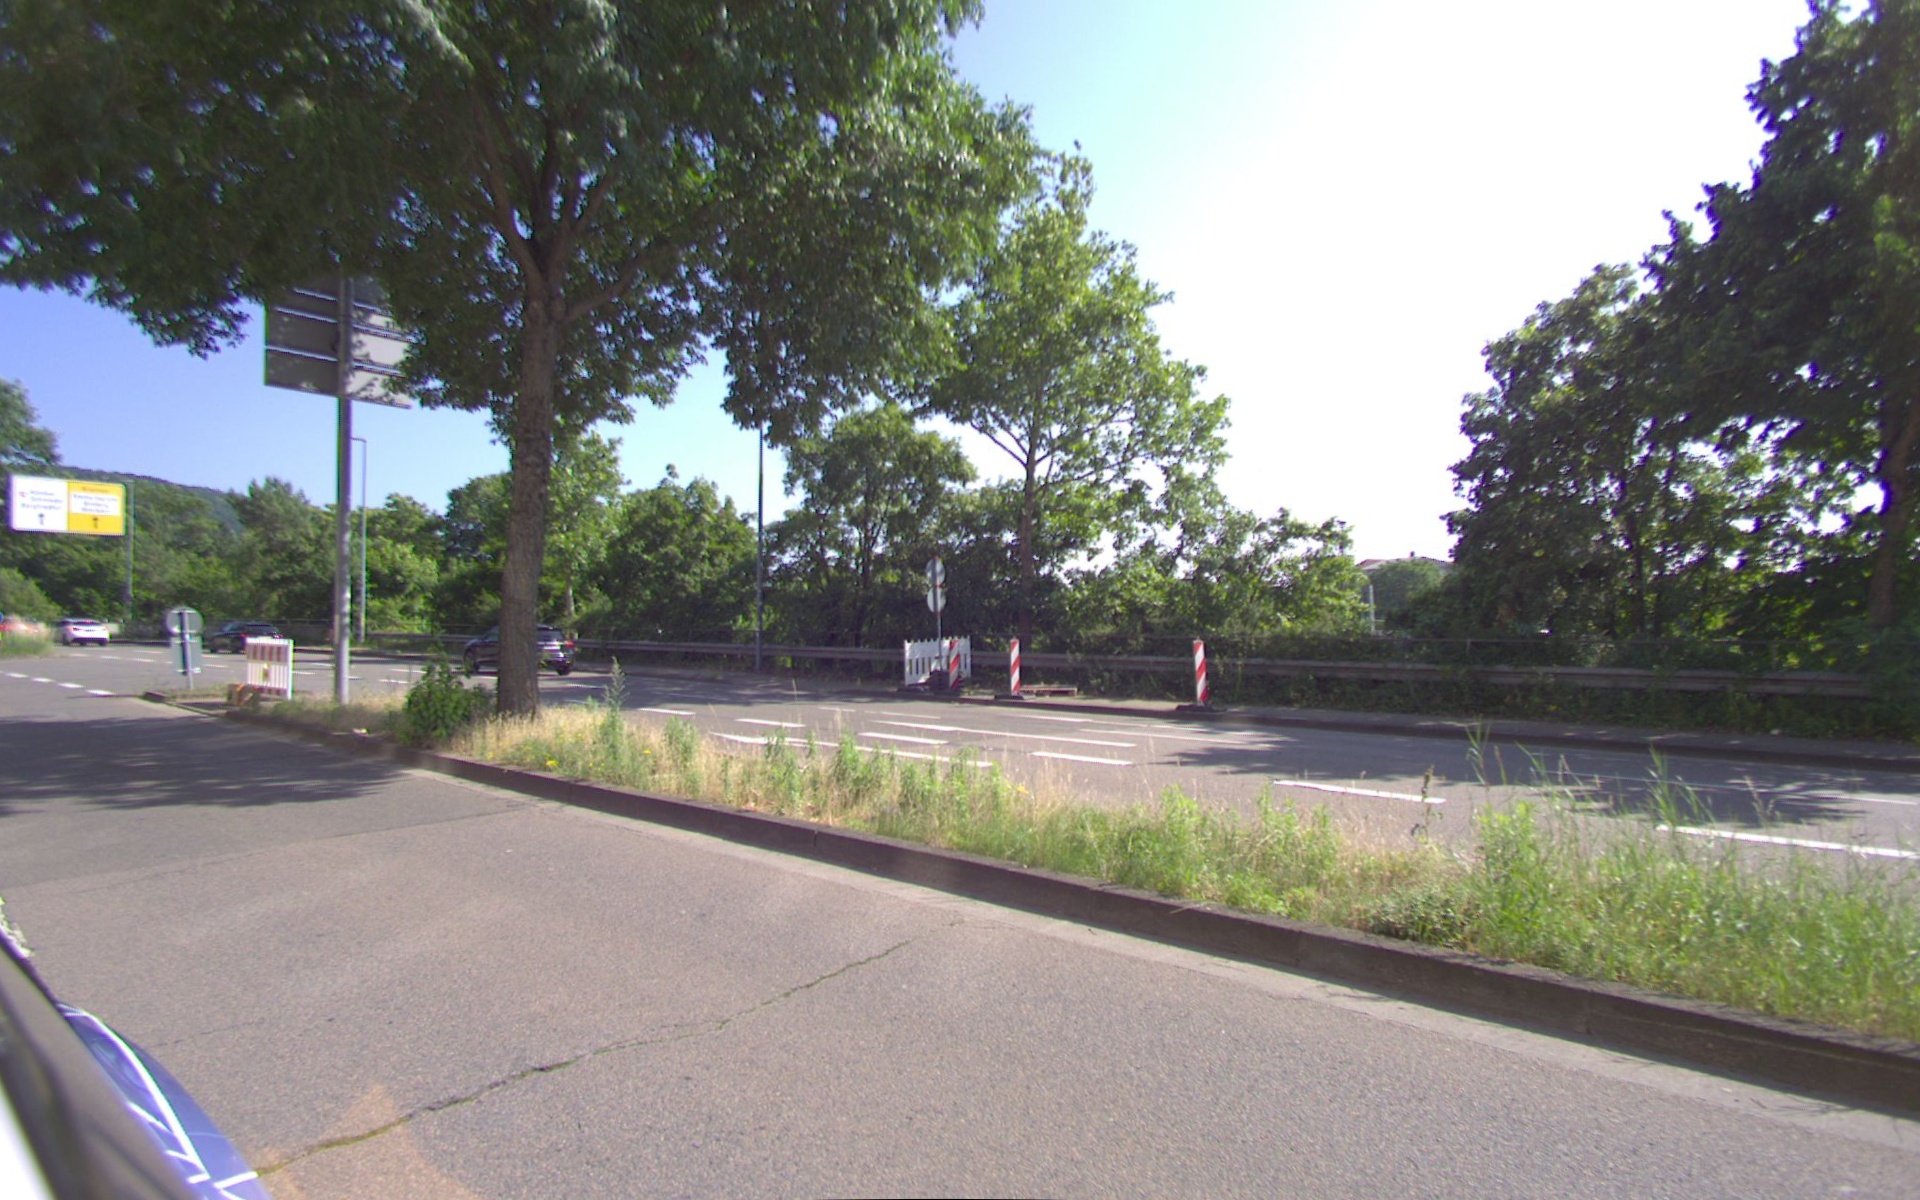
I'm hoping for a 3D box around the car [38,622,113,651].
[{"bbox_3d":[-47.040,1.936,53.785,4.191,1.464,1.850,0,-3,32],"label":"car"}]

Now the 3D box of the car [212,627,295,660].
[{"bbox_3d":[-32.300,1.971,46.244,4.612,1.422,1.973,-1,-3,40],"label":"car"}]

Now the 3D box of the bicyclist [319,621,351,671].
[{"bbox_3d":[-19.696,1.449,31.887,0.777,1.545,0.568,-1,-2,36],"label":"bicyclist"}]

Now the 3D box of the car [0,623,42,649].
[{"bbox_3d":[-56.061,2.122,59.765,3.952,1.531,1.783,-1,-2,33],"label":"car"}]

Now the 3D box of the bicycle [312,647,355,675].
[{"bbox_3d":[-19.756,1.911,31.912,1.802,0.839,0.489,-1,-3,36],"label":"bicycle"}]

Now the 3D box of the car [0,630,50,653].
[{"bbox_3d":[-62.233,2.731,67.345,3.639,1.512,1.627,-1,-3,34],"label":"car"}]

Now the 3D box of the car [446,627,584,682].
[{"bbox_3d":[-13.506,1.619,30.601,4.696,1.540,1.972,-1,-4,41],"label":"car"}]
